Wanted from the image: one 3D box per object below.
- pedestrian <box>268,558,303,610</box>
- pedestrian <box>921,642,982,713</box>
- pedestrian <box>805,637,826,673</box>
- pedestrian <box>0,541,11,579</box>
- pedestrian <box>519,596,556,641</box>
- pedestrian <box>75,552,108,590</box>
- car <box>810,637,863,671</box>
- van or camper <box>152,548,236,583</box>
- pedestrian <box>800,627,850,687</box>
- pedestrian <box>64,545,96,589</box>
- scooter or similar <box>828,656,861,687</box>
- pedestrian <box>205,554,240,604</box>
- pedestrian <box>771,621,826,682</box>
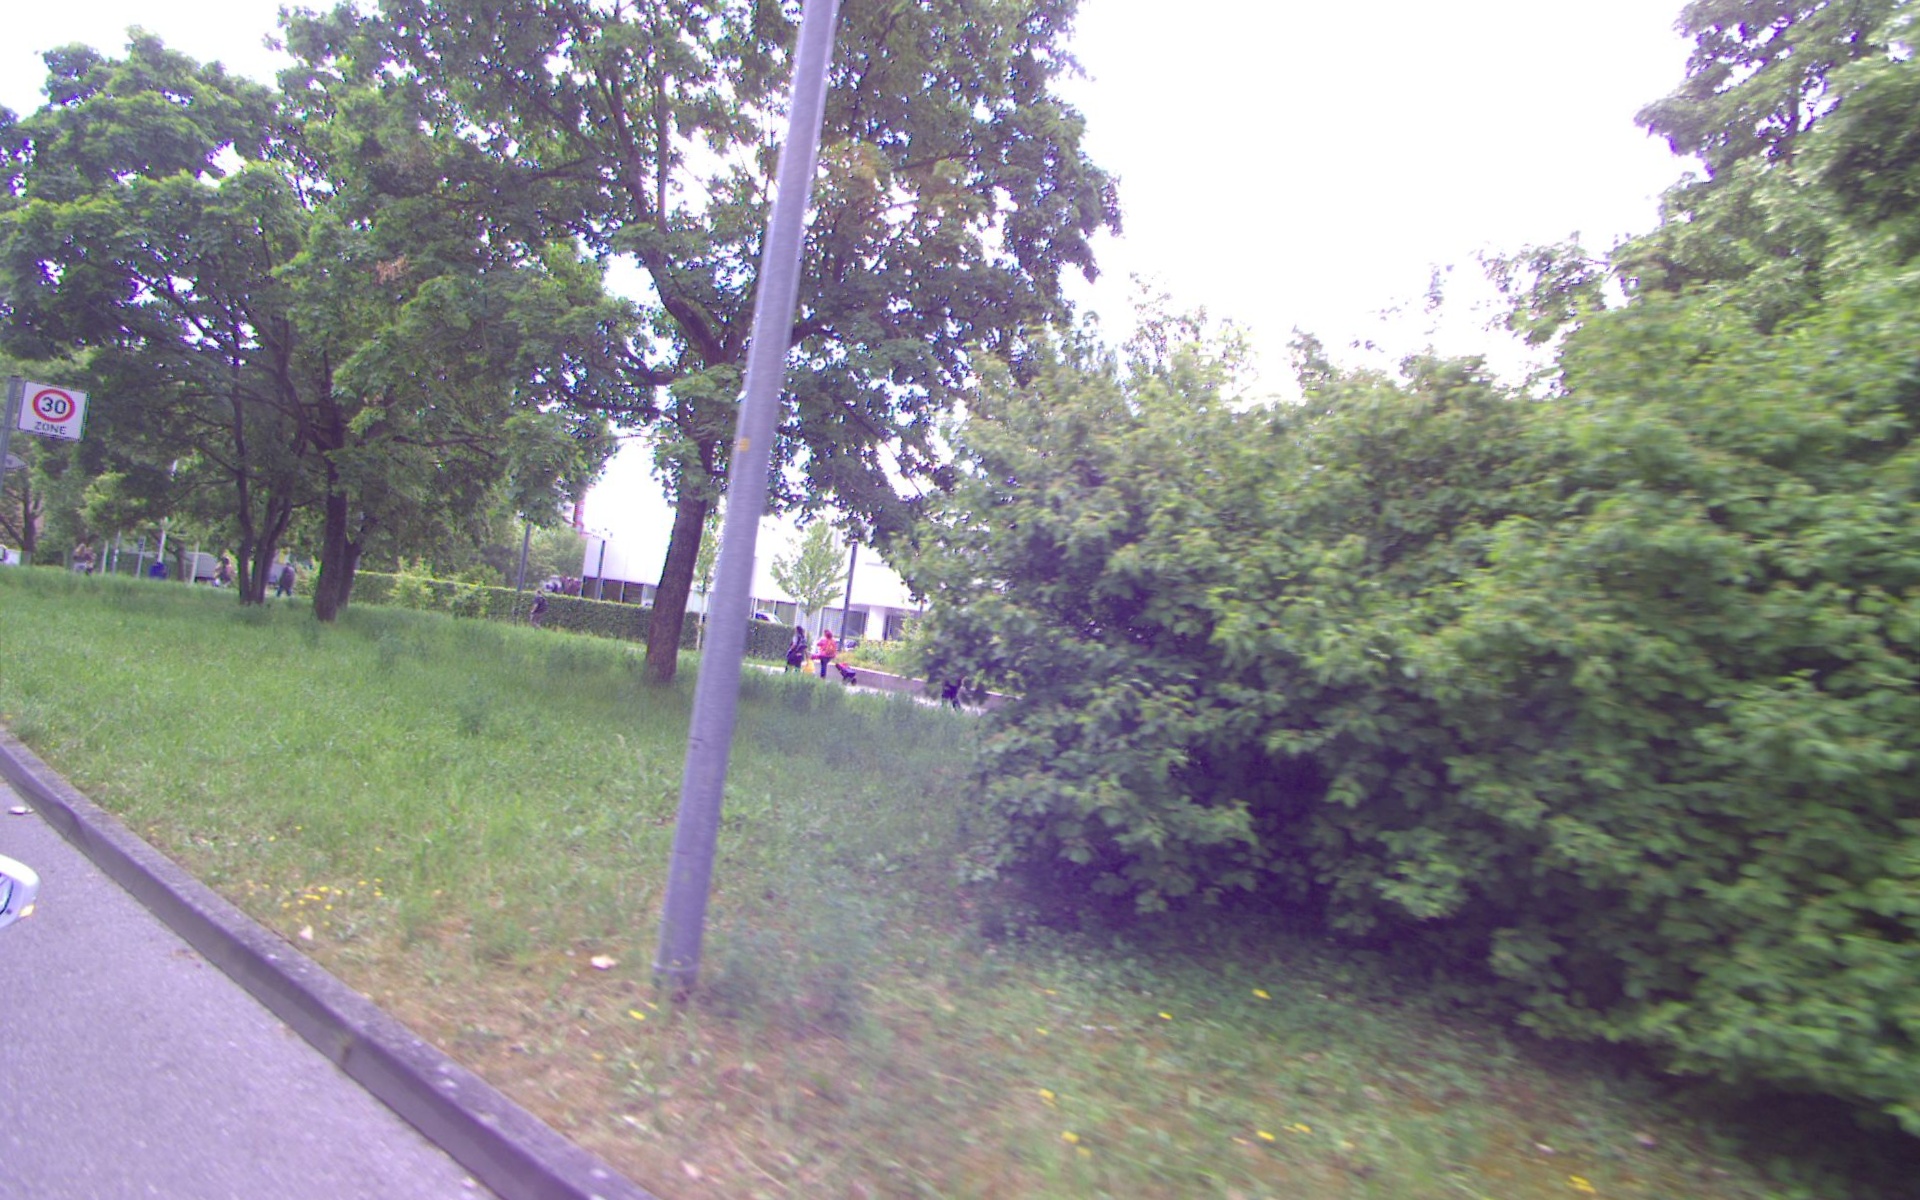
[{"bbox_3d":[-24.270,-0.562,36.192,0.769,1.742,0.817,8,-2,-29],"label":"pedestrian"},{"bbox_3d":[-0.199,1.775,23.096,0.969,1.468,0.758,6,-3,40],"label":"pedestrian"},{"bbox_3d":[-5.016,1.905,34.881,0.595,1.173,0.648,7,-3,-8],"label":"pedestrian"},{"bbox_3d":[-45.626,-1.928,47.627,0.812,1.742,0.800,6,-2,44],"label":"pedestrian"},{"bbox_3d":[-15.206,0.680,36.212,0.684,1.468,0.836,8,-2,11],"label":"pedestrian"},{"bbox_3d":[-42.038,-1.400,48.689,0.765,1.714,0.821,8,-2,-17],"label":"pedestrian"},{"bbox_3d":[-6.257,2.776,51.379,1.480,1.438,3.110,7,-3,15],"label":"car"},{"bbox_3d":[-59.342,-2.658,78.016,4.622,1.936,1.765,8,-2,-20],"label":"van or camper"},{"bbox_3d":[-4.044,1.707,30.193,0.919,1.624,0.952,4,-4,45],"label":"pedestrian"},{"bbox_3d":[-34.546,-1.295,39.511,0.772,1.615,0.814,8,-2,-42],"label":"pedestrian"},{"bbox_3d":[-3.410,2.116,29.718,0.664,0.790,0.633,3,-5,45],"label":"scooter or similar"},{"bbox_3d":[-27.231,-0.770,37.163,0.769,1.742,0.816,9,-2,-32],"label":"pedestrian"},{"bbox_3d":[-4.359,1.393,27.136,0.969,1.468,0.877,6,-3,40],"label":"pedestrian"}]
